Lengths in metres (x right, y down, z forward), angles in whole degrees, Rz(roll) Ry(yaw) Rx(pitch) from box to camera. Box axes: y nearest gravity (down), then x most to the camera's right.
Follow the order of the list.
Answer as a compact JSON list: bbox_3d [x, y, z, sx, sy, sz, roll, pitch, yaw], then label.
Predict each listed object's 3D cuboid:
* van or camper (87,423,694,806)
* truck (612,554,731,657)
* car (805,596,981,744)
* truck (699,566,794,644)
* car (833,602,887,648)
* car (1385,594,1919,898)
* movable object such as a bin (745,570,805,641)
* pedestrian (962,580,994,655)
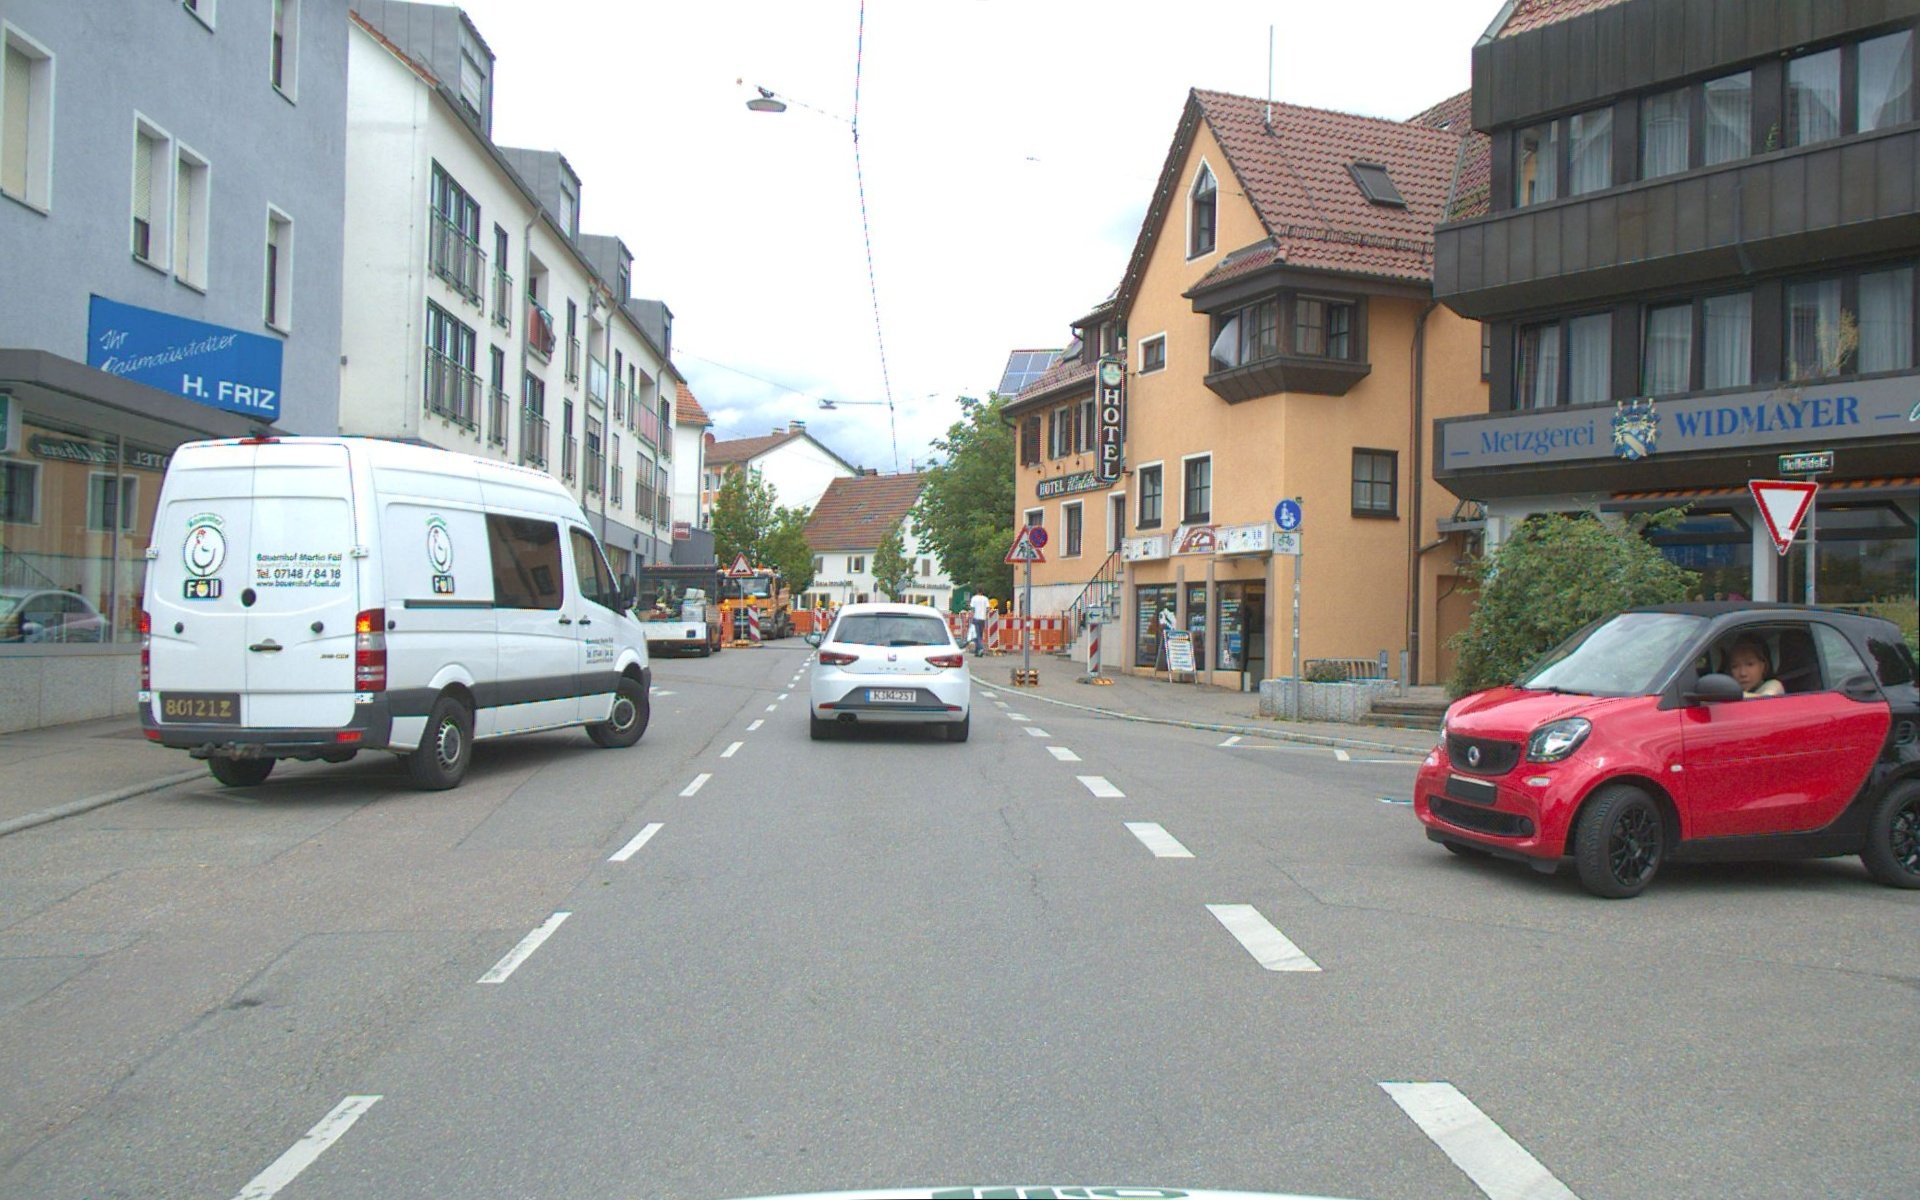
[{"bbox_3d":[-4.543,0.092,14.702,2.269,2.653,6.213,0,0,11],"label":"van or camper"},{"bbox_3d":[-7.439,0.131,43.326,2.365,2.509,6.303,0,0,-3],"label":"truck"},{"bbox_3d":[-0.785,0.714,18.795,1.775,1.506,3.868,0,0,-3],"label":"car"},{"bbox_3d":[-8.055,0.190,63.127,2.675,2.772,6.847,1,0,0],"label":"truck"},{"bbox_3d":[-3.427,0.850,57.452,1.775,1.506,3.869,0,0,-2],"label":"car"},{"bbox_3d":[4.216,0.752,9.633,2.879,1.547,1.815,0,0,-13],"label":"car"},{"bbox_3d":[-7.703,0.268,69.147,1.801,2.812,4.506,1,-2,2],"label":"movable object such as a bin"},{"bbox_3d":[0.483,0.467,44.491,0.782,1.984,0.835,0,0,-6],"label":"pedestrian"}]
